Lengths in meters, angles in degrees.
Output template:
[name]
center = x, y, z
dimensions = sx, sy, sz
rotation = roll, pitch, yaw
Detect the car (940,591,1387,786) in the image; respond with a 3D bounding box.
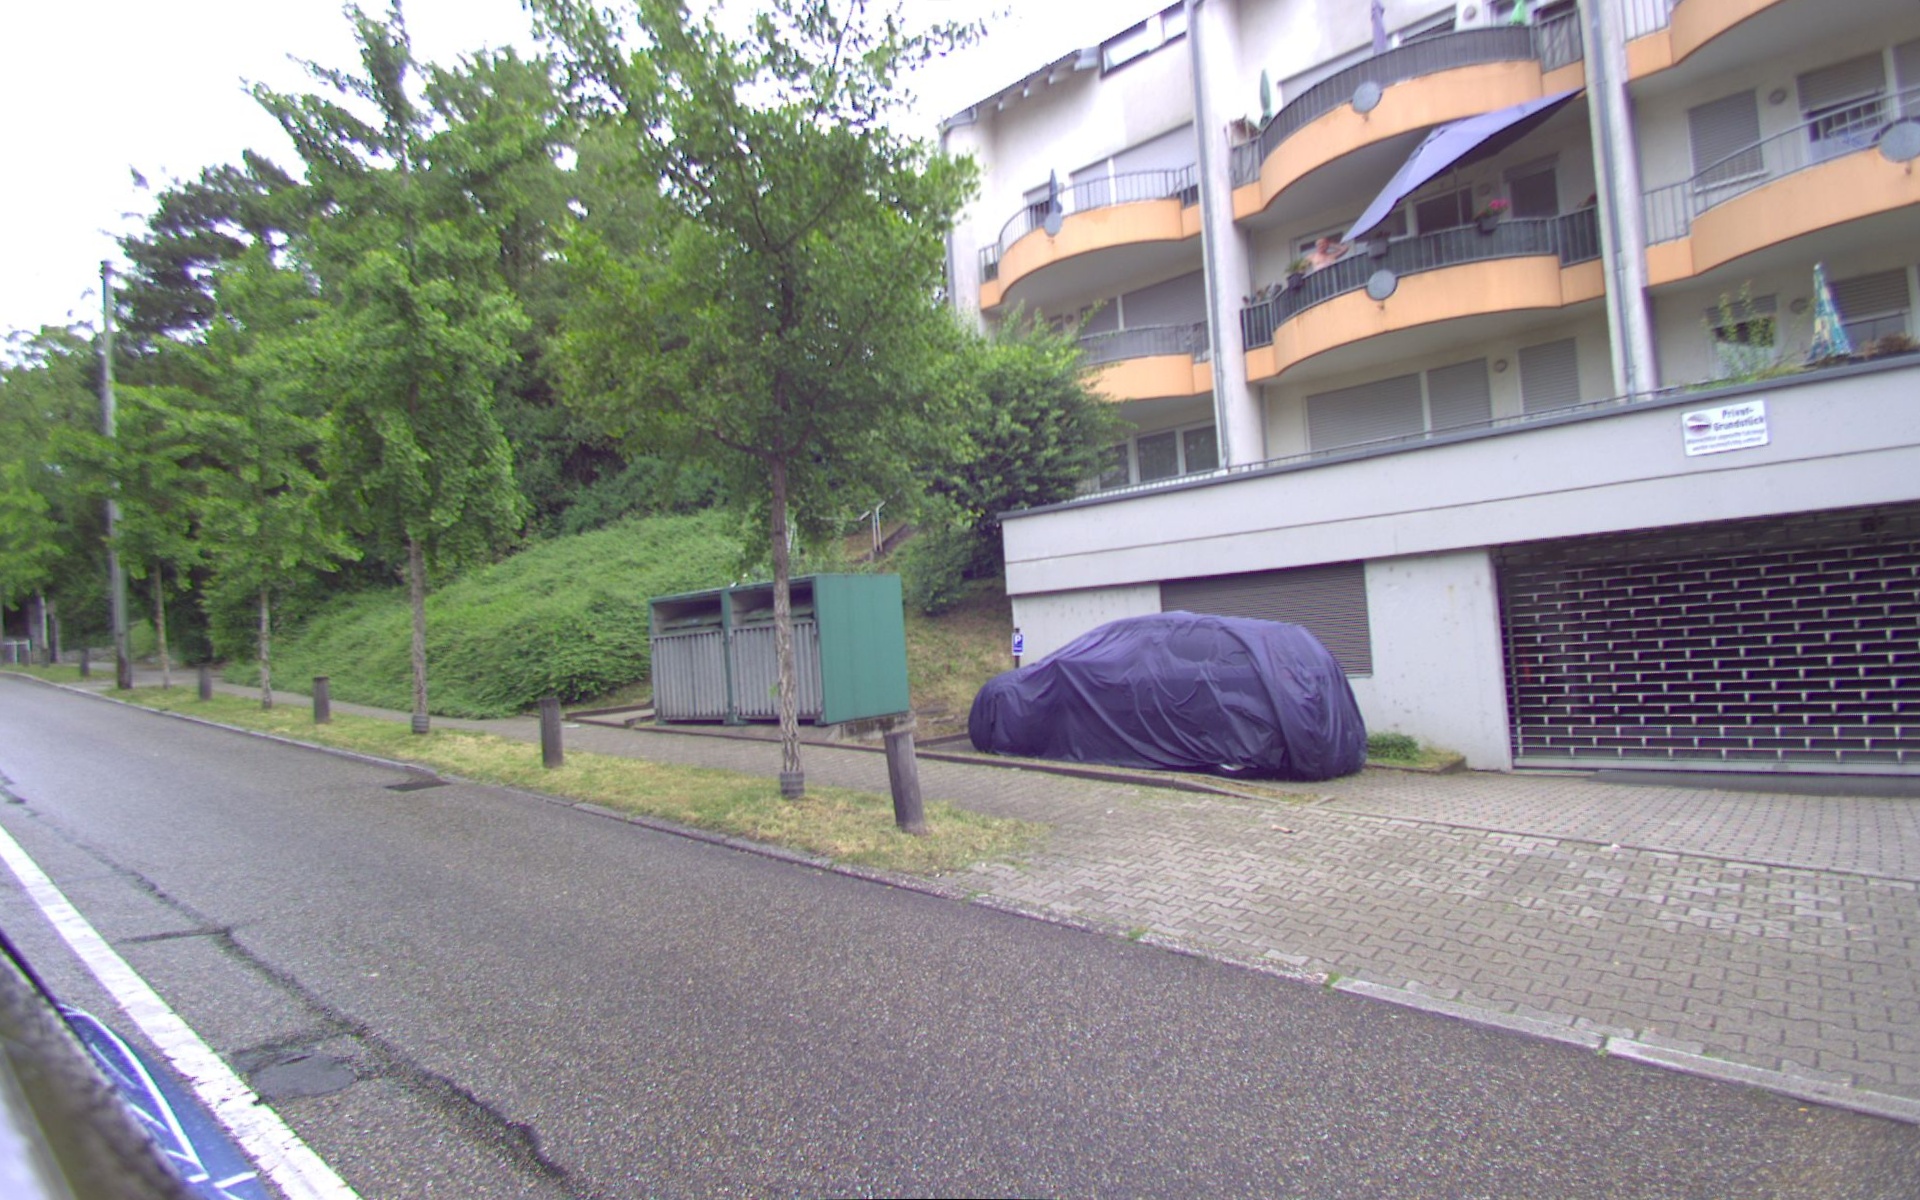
[car]
center = 1.911, 0.812, 10.217
dimensions = 4.096, 1.573, 1.759
rotation = -2, -4, 41
